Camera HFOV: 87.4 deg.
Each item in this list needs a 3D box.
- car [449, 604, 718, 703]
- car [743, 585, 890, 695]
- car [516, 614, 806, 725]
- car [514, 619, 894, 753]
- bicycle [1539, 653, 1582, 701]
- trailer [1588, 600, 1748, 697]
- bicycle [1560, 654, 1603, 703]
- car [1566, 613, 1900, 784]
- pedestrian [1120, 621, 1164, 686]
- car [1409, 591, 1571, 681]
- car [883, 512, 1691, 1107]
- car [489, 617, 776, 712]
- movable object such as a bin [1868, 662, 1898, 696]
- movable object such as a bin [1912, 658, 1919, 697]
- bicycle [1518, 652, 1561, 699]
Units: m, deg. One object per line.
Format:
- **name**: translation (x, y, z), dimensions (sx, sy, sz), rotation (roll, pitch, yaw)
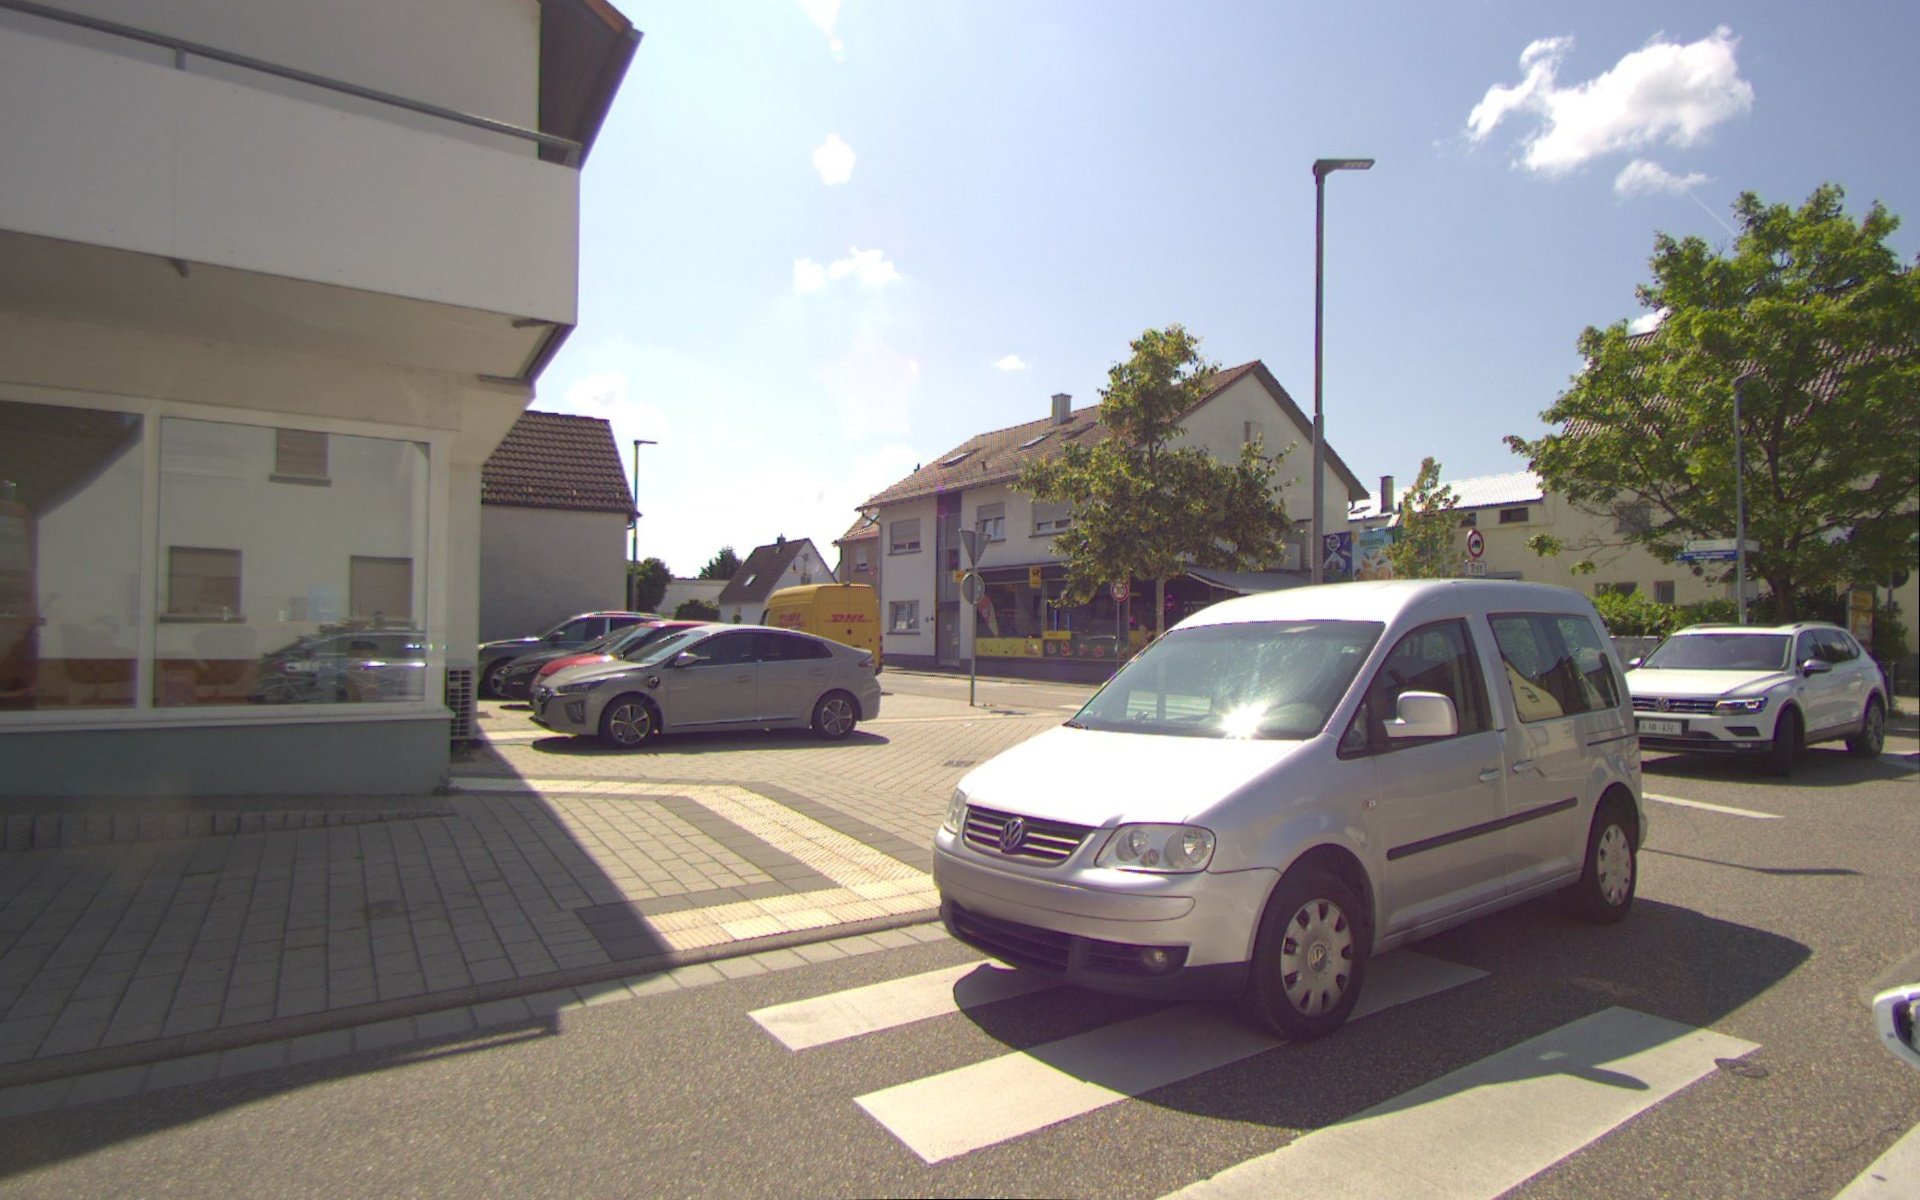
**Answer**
- **car**: translation (-7.469, 1.060, 20.110), dimensions (4.700, 1.762, 1.969), rotation (3, -2, -34)
- **car**: translation (-3.983, 1.043, 26.813), dimensions (2.087, 2.606, 5.643), rotation (1, -2, -28)
- **car**: translation (-4.531, 1.031, 15.402), dimensions (3.922, 1.496, 1.737), rotation (3, -2, -34)
- **car**: translation (-3.238, 1.047, 13.065), dimensions (4.432, 1.469, 1.819), rotation (3, -2, -34)
- **bicycle**: translation (14.435, 1.834, 24.132), dimensions (1.969, 1.017, 0.396), rotation (0, -1, -45)
- **trailer**: translation (18.794, 1.257, 26.618), dimensions (4.473, 2.366, 1.869), rotation (2, 0, -32)
- **bicycle**: translation (14.738, 1.842, 23.799), dimensions (1.969, 1.017, 0.396), rotation (0, -1, -45)
- **car**: translation (9.585, 1.068, 12.359), dimensions (4.494, 1.732, 1.855), rotation (0, -2, -33)
- **pedestrian**: translation (5.284, 1.536, 29.185), dimensions (1.012, 1.850, 0.776), rotation (0, 0, -34)
- **car**: translation (16.597, 1.112, 31.370), dimensions (5.585, 2.601, 1.926), rotation (2, 0, -32)
- **car**: translation (1.918, 0.747, 5.180), dimensions (4.401, 1.845, 1.759), rotation (2, -4, -37)
- **car**: translation (-5.655, 1.101, 17.562), dimensions (4.432, 1.469, 1.819), rotation (3, -2, -34)
- **movable object such as a bin**: translation (26.265, 2.241, 28.591), dimensions (0.540, 0.940, 0.477), rotation (2, -2, -30)
- **movable object such as a bin**: translation (26.856, 2.148, 27.771), dimensions (0.650, 1.093, 0.597), rotation (2, -2, -30)
- **bicycle**: translation (14.112, 1.825, 24.440), dimensions (1.969, 1.017, 0.396), rotation (0, -1, -45)
